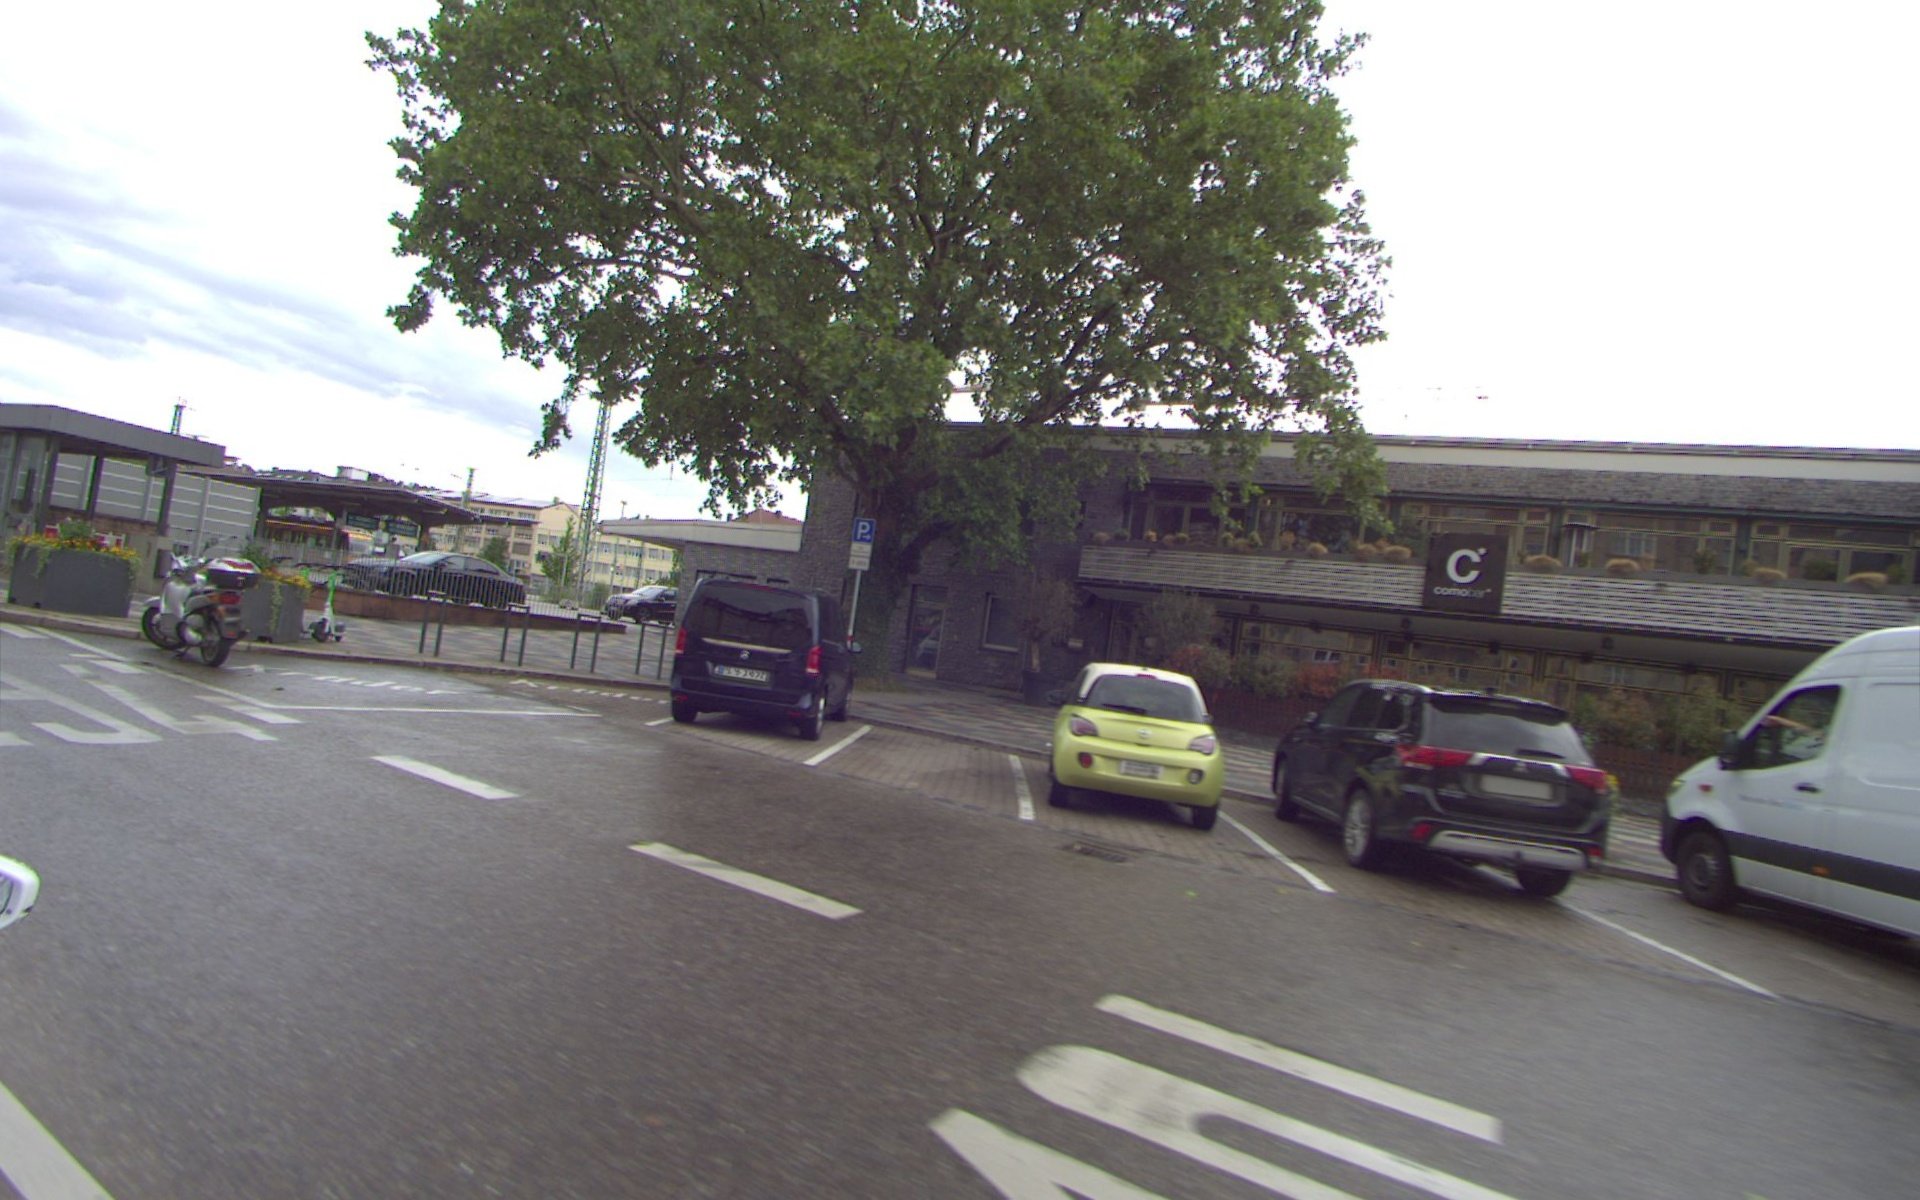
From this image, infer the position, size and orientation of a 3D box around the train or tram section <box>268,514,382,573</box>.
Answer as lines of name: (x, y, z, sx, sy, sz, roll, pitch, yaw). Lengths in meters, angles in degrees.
train or tram section: (-45.798, -4.120, 72.468, 9.359, 3.322, 2.659, 6, -1, 30)

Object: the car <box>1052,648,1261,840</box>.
car: (1.995, 1.432, 11.216, 1.729, 1.542, 3.594, 8, -2, 5)

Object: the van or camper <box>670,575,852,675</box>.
van or camper: (-4.893, 0.692, 25.351, 1.987, 2.013, 4.288, 7, -2, 29)

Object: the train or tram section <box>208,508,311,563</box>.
train or tram section: (-53.681, -4.982, 77.033, 8.980, 3.322, 2.659, 6, -1, 30)

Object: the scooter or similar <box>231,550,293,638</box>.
scooter or similar: (-10.077, -0.091, 14.548, 0.410, 1.167, 1.255, 10, -4, -27)

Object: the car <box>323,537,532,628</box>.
car: (-14.799, -0.416, 28.269, 2.072, 1.896, 4.698, 7, -2, 27)

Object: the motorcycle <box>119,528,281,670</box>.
motorcycle: (-8.673, -0.029, 11.450, 2.074, 1.368, 0.644, 7, -1, 32)

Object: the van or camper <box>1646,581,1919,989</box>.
van or camper: (8.015, 1.423, 6.664, 2.238, 2.903, 6.534, 7, -2, 1)

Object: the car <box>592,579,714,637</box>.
car: (-13.263, 0.393, 43.749, 2.075, 1.896, 4.691, 7, -2, 34)

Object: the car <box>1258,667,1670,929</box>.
car: (4.516, 1.663, 9.886, 1.849, 1.653, 4.240, 7, -2, 2)

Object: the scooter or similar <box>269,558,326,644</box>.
scooter or similar: (-9.699, 0.010, 14.757, 0.410, 1.167, 1.255, 10, -4, -27)

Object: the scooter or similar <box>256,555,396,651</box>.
scooter or similar: (-9.756, 0.045, 15.490, 1.639, 1.167, 1.068, 7, -4, 32)

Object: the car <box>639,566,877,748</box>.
car: (-2.601, 0.765, 14.315, 2.070, 1.896, 4.703, 7, -2, 2)
